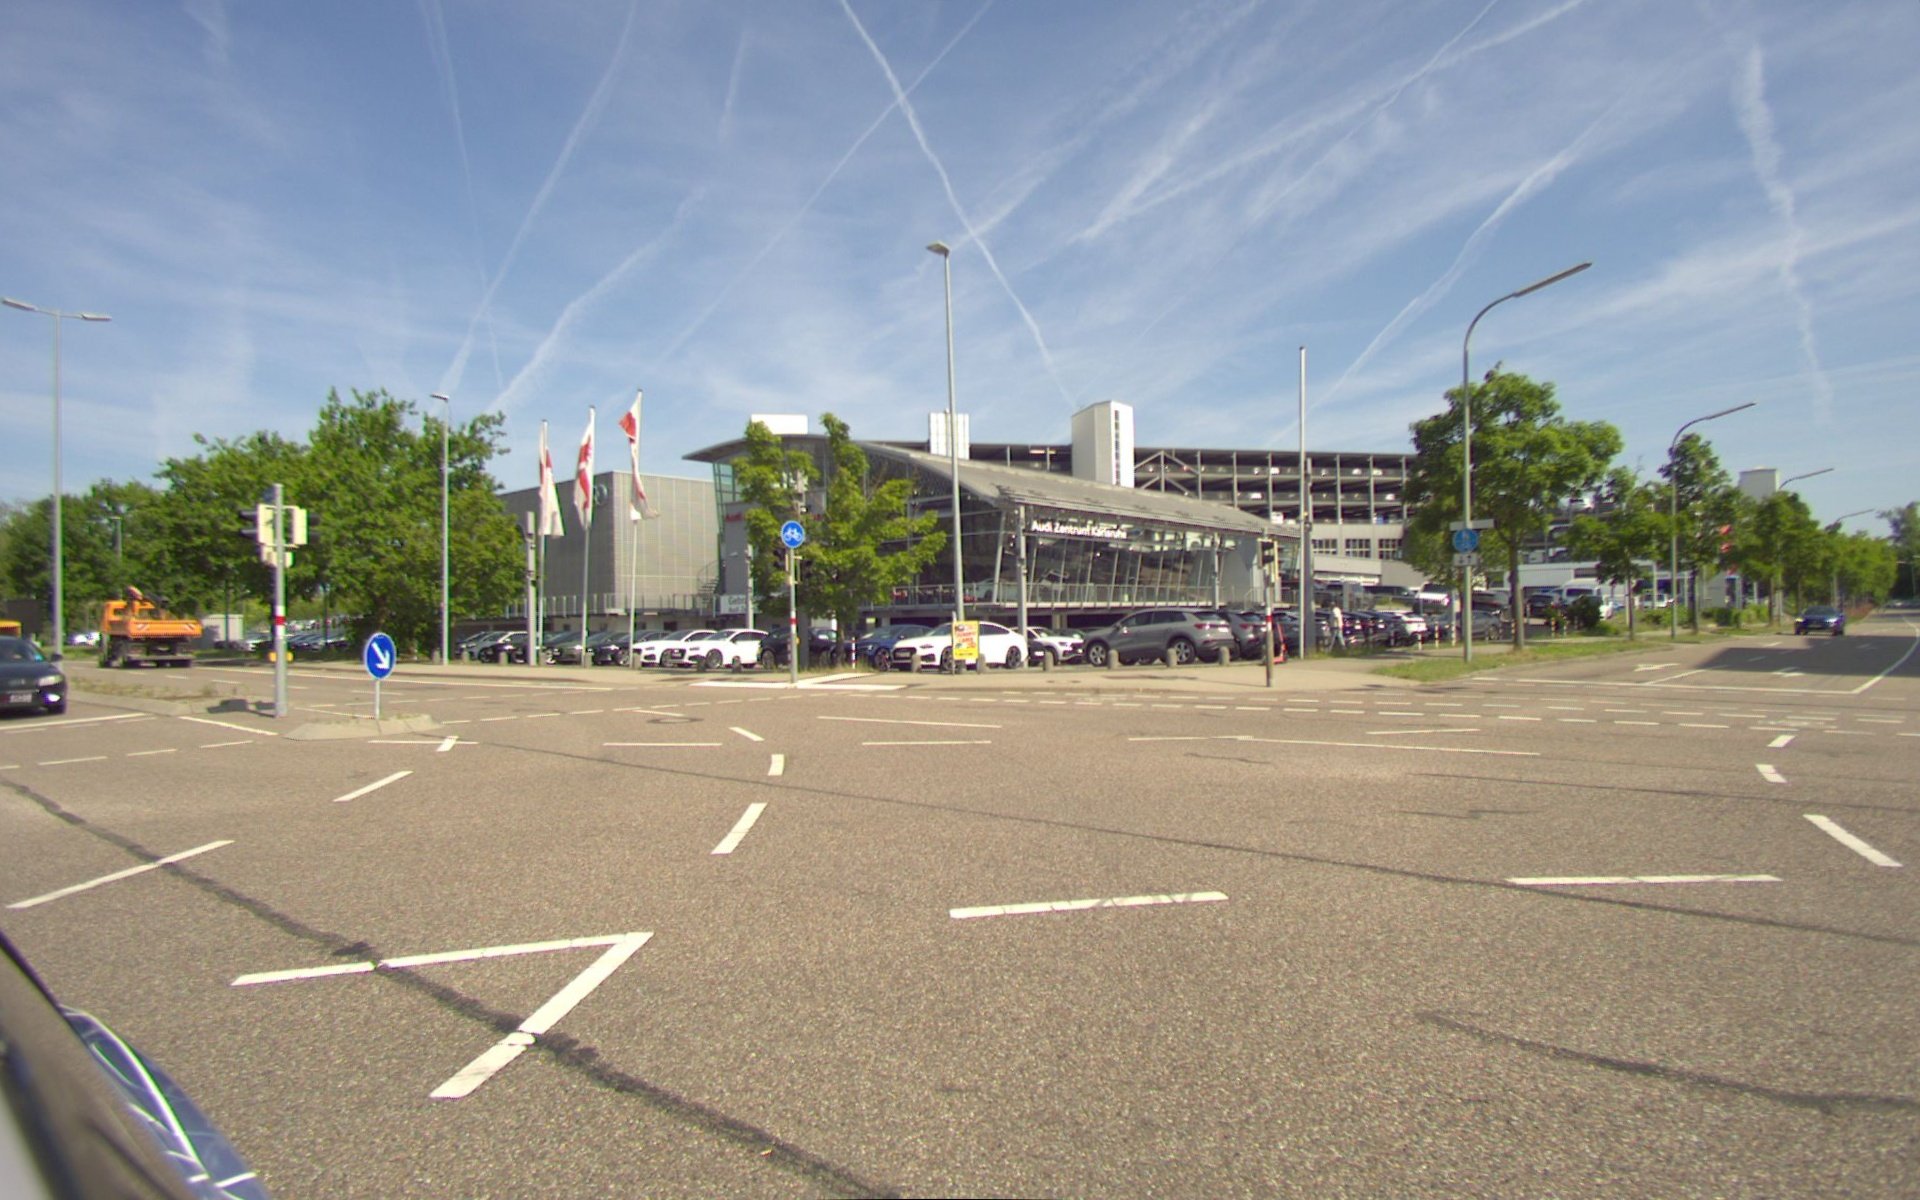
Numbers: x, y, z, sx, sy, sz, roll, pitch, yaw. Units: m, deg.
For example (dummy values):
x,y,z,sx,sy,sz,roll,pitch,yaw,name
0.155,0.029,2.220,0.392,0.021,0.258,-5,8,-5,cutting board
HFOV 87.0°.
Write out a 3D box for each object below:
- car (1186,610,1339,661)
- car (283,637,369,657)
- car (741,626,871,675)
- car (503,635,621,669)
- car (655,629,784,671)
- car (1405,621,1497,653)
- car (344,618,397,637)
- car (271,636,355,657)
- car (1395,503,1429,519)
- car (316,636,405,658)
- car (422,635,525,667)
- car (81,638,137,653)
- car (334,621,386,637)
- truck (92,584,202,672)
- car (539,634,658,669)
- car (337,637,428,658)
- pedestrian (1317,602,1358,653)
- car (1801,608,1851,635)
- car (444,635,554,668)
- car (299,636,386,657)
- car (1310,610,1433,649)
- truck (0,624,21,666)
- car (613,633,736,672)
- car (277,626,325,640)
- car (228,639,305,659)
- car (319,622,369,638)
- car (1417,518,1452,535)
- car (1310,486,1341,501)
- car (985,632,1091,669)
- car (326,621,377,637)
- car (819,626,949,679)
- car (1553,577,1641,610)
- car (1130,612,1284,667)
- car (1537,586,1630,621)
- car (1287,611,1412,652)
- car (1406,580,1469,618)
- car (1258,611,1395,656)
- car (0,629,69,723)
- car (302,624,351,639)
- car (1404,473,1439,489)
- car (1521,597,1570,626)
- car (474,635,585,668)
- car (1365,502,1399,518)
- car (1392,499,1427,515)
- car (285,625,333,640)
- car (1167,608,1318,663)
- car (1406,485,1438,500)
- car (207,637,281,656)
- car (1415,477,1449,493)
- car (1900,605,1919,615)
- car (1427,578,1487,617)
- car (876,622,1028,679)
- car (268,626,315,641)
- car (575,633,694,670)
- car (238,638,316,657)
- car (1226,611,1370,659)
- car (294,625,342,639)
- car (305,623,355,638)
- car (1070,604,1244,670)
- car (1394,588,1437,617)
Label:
x,y,z,sx,sy,sz,roll,pitch,yaw,name
10.535,1.272,35.482,4.772,1.517,1.769,-6,-4,40,car
-38.966,2.900,62.247,1.689,1.215,4.142,-3,-4,41,car
-5.115,1.648,33.359,4.422,1.507,1.779,-3,-2,41,car
-16.625,2.194,42.455,1.828,1.365,4.238,-2,-4,39,car
-8.309,1.766,35.227,1.876,1.380,4.031,-2,-4,40,car
23.777,1.766,49.013,3.957,1.453,1.803,0,-2,-23,car
-58.521,2.709,100.489,1.689,1.745,4.142,-3,-4,41,car
-40.829,2.952,63.954,1.689,1.264,4.142,-3,-4,41,car
62.972,-12.387,140.970,3.992,1.729,2.012,-2,-1,36,car
-35.059,2.763,59.211,1.689,1.256,4.142,-3,-4,41,car
-22.853,2.416,47.666,1.807,1.413,3.984,-2,-4,39,car
-86.058,4.612,102.379,1.689,1.511,4.142,-3,-4,41,car
-60.540,2.941,102.204,1.689,1.511,4.142,-3,-4,41,car
-37.136,1.308,46.118,7.577,3.708,2.717,-2,-2,42,truck
-14.403,2.079,40.479,1.853,1.345,4.133,-2,-4,39,car
-32.763,2.727,57.503,1.718,1.131,4.142,-3,-4,41,car
13.134,0.954,35.215,0.903,1.763,1.004,1,-2,-44,pedestrian
44.631,1.085,52.141,1.660,1.299,3.749,-2,-2,45,car
-20.824,2.348,45.860,1.800,1.405,4.173,-2,-4,39,car
-37.024,2.830,60.749,1.689,1.204,4.142,-3,-4,41,car
17.666,1.304,43.564,4.555,1.453,1.769,-5,-4,40,car
-64.887,3.068,66.859,6.647,2.645,2.358,-3,-1,31,truck
-10.383,1.922,37.004,1.867,1.329,3.946,-2,-4,40,car
-74.174,3.748,113.968,1.689,1.511,4.142,-3,-4,41,car
-48.549,3.424,70.949,1.689,1.335,4.142,-3,-4,41,car
-64.015,3.141,105.246,1.689,1.511,4.142,-3,-4,41,car
65.870,-10.178,140.477,3.994,2.028,1.975,-1,2,38,car
54.665,-15.868,151.483,3.992,1.729,2.012,-2,-1,36,car
3.190,2.067,41.840,4.061,1.389,1.769,-2,-2,40,car
-62.325,3.029,103.703,1.689,1.511,4.142,-3,-4,41,car
-2.205,1.518,30.075,1.762,1.413,3.797,-2,-2,38,car
42.657,-0.377,67.839,4.746,2.029,1.974,-2,-2,39,car
7.538,1.223,31.070,4.196,1.453,1.770,-6,-4,40,car
39.278,0.256,63.796,4.746,2.029,1.974,-2,-2,39,car
15.938,1.322,41.507,4.398,1.453,1.769,-5,-4,40,car
25.917,-0.112,54.860,2.086,1.922,4.489,2,2,38,car
14.219,1.320,39.419,4.627,1.453,1.769,-5,-4,40,car
-18.067,1.398,18.585,4.865,1.533,1.859,-3,0,40,car
-68.355,3.384,109.177,1.689,1.511,4.142,-3,-4,41,car
63.349,-16.333,138.943,3.992,1.729,2.012,-2,-1,36,car
35.297,0.658,60.997,1.997,1.586,3.935,-2,0,38,car
-18.721,2.251,44.161,1.833,1.365,4.070,-2,-4,38,car
58.702,-12.469,140.803,3.992,1.729,2.012,-2,-1,36,car
61.777,-12.745,139.028,3.992,1.729,2.012,-2,-1,36,car
-72.184,3.610,112.320,1.689,1.511,4.142,-3,-4,41,car
9.239,1.188,33.285,4.371,1.556,1.769,-6,-4,40,car
67.386,-15.659,147.667,3.992,1.729,2.012,-2,-1,36,car
-52.438,3.434,74.198,1.689,1.333,4.142,-3,-4,41,car
67.384,-16.468,144.532,3.992,1.729,2.012,-2,-1,36,car
168.260,1.718,178.054,2.008,1.729,4.000,-1,-1,0,car
31.753,-0.194,64.585,2.087,2.360,5.476,-3,-1,41,car
-0.154,1.376,28.650,1.899,1.443,4.326,-3,-2,42,car
-76.264,3.836,115.425,1.689,1.511,4.142,-3,-4,41,car
-12.338,1.977,38.500,1.837,1.329,3.945,-3,-4,41,car
-46.768,3.255,69.339,1.689,1.265,4.142,-3,-4,41,car
12.473,1.302,37.527,4.670,1.529,1.760,-5,-4,40,car
-70.433,3.522,111.121,1.689,1.511,4.142,-3,-4,41,car
-66.839,3.284,107.424,1.689,1.511,4.142,-3,-4,41,car
5.618,1.095,29.230,4.592,1.626,1.795,-6,-4,41,car
34.048,0.188,75.522,1.852,2.029,4.015,-3,-2,40,car
